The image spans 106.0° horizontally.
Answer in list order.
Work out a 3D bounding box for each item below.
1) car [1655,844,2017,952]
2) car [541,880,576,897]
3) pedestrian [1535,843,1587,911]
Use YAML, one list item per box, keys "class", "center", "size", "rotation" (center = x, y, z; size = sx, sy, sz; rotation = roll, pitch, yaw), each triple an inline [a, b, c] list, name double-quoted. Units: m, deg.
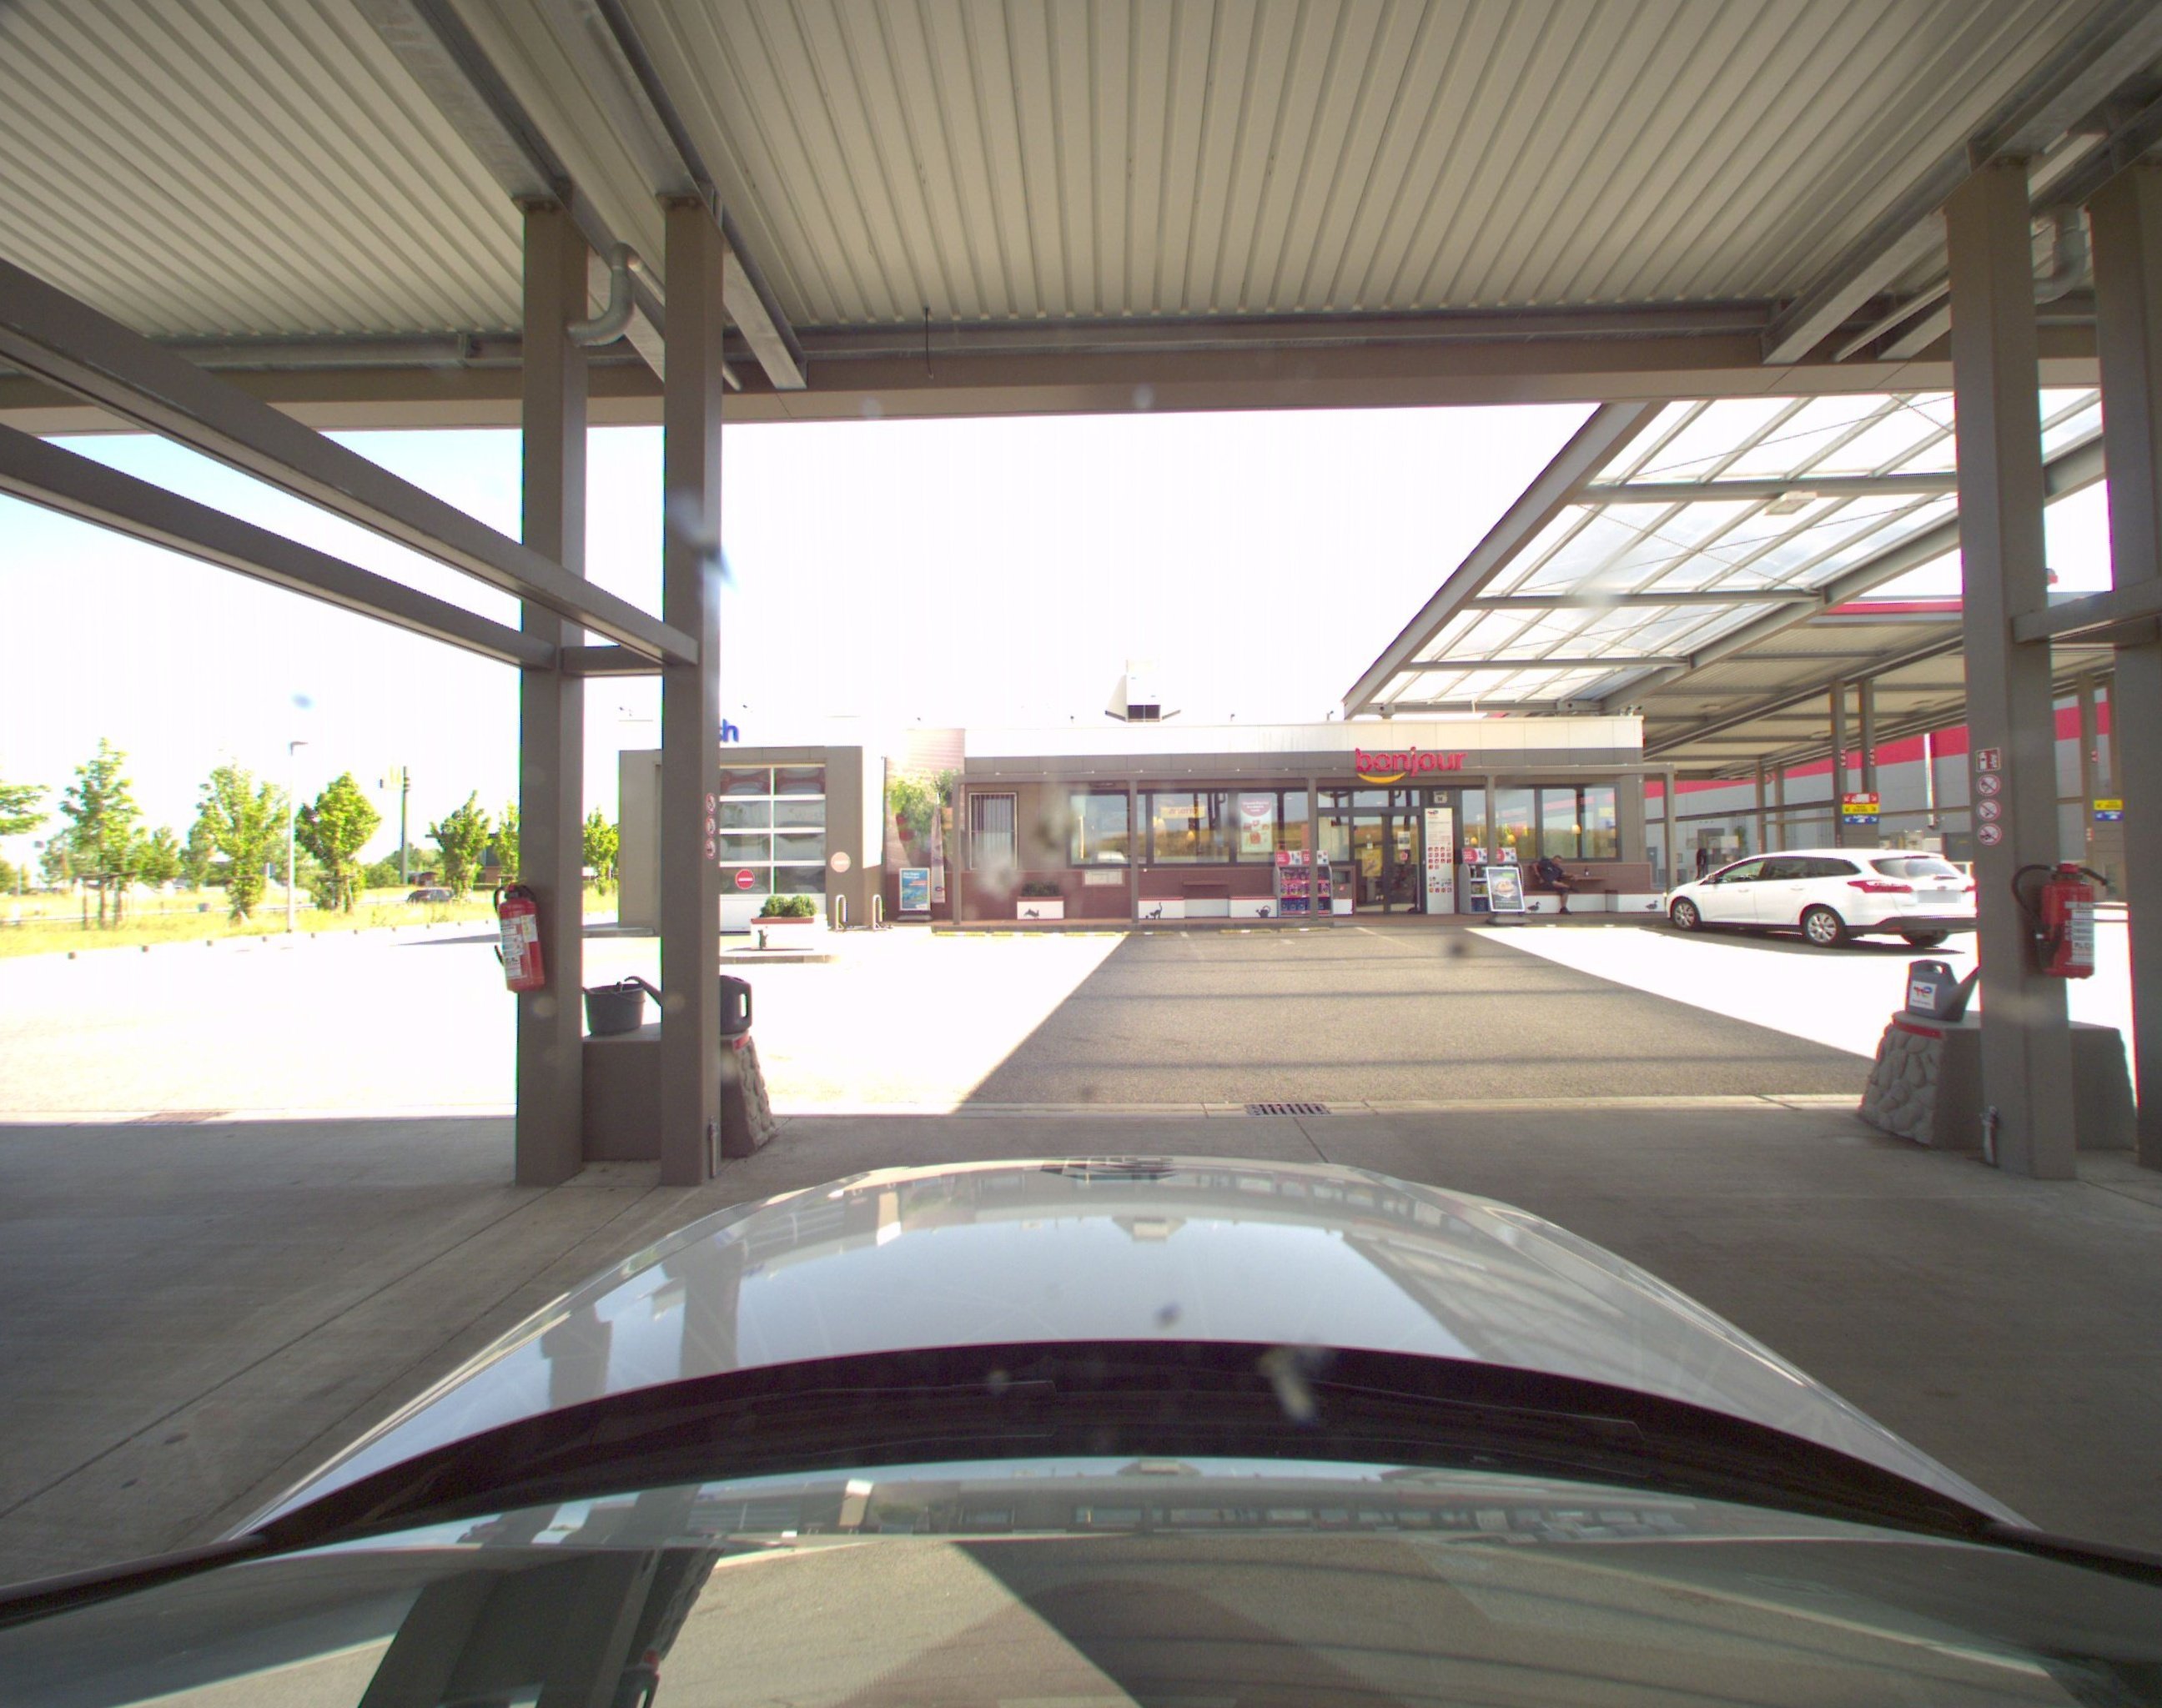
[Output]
- class: "car"
  center: [12.034, 0.623, 13.478]
  size: [1.826, 1.457, 4.315]
  rotation: [-1, -1, -4]
- class: "car"
  center: [-55.657, 3.641, 86.786]
  size: [1.798, 1.596, 3.984]
  rotation: [-1, 0, -12]
- class: "pedestrian"
  center: [10.381, 0.501, 17.641]
  size: [0.698, 1.432, 0.673]
  rotation: [-1, -1, 1]
